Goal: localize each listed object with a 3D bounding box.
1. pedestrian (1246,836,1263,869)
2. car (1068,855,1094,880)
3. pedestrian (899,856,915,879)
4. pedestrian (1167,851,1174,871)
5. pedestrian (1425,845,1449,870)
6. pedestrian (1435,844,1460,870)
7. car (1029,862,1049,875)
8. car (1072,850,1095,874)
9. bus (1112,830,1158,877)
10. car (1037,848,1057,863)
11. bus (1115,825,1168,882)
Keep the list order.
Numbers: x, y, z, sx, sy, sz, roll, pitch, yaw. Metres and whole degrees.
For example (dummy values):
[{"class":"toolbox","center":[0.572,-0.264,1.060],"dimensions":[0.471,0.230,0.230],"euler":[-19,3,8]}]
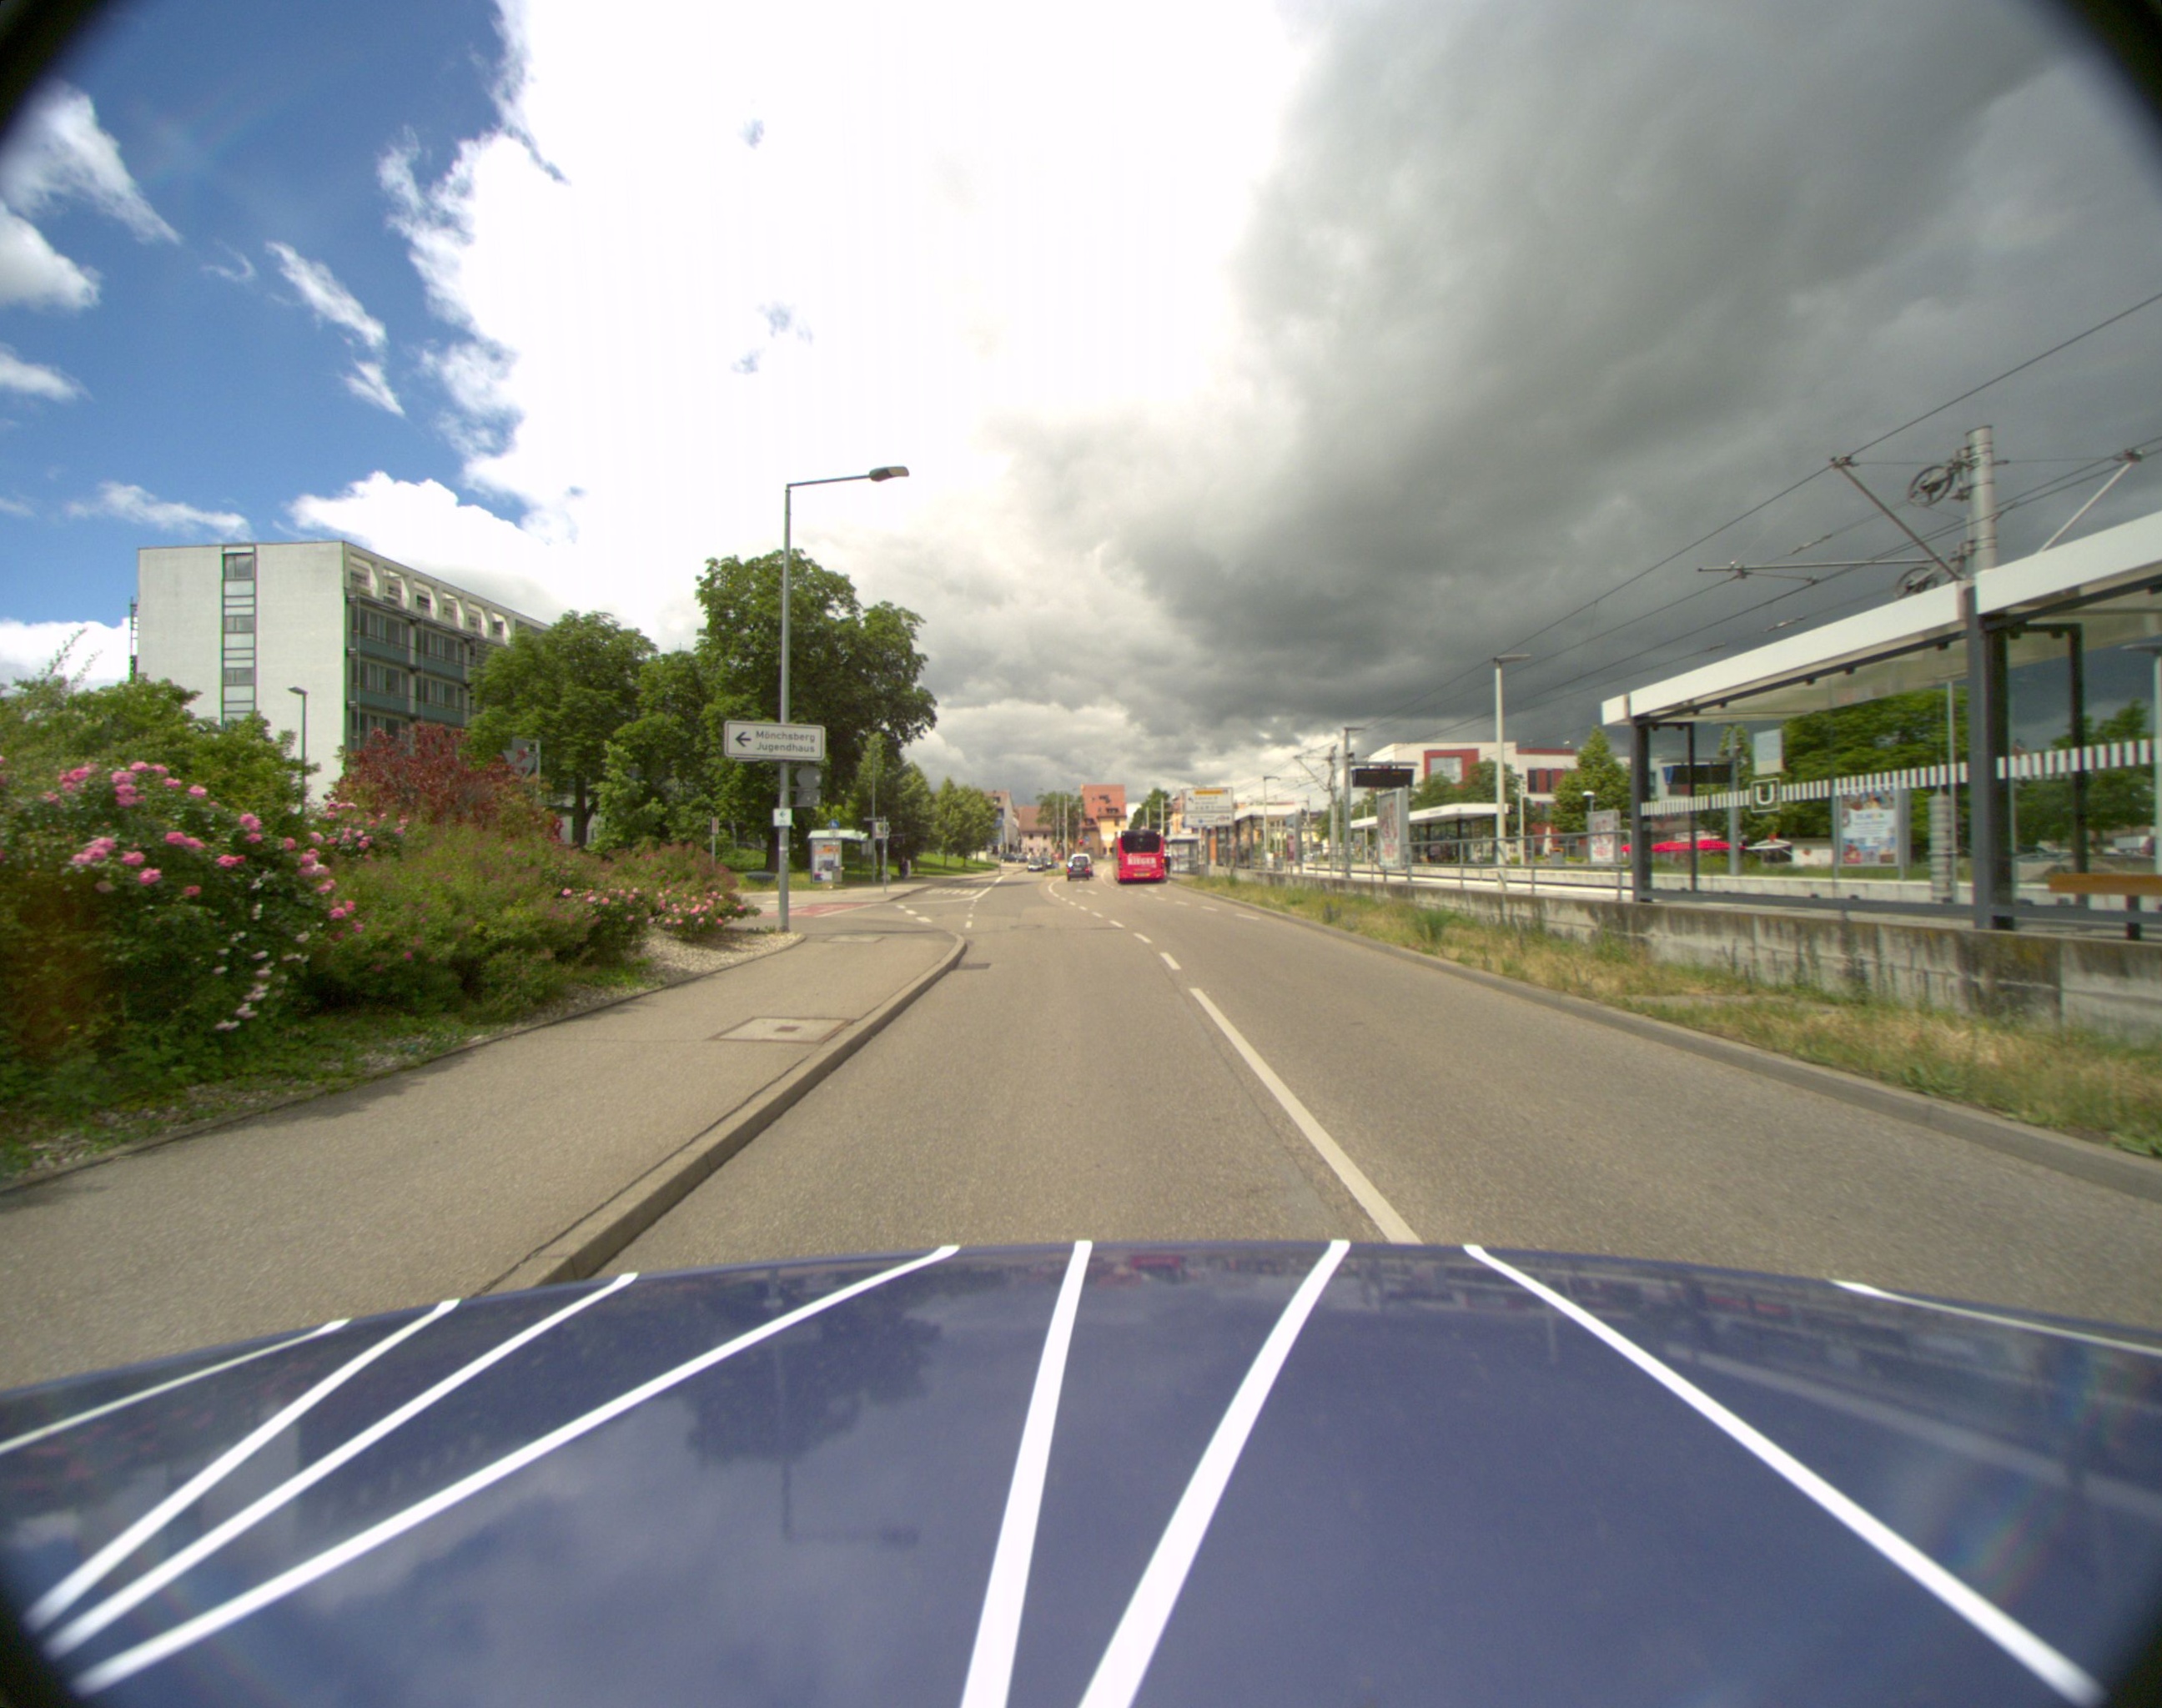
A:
[{"class":"pedestrian","center":[8.755,-0.071,38.387],"dimensions":[0.689,1.646,0.701],"euler":[-1,-1,1]},{"class":"car","center":[0.019,0.906,52.188],"dimensions":[1.533,1.542,3.733],"euler":[-2,0,3]},{"class":"pedestrian","center":[-10.949,0.863,47.809],"dimensions":[0.821,1.416,0.830],"euler":[0,1,2]},{"class":"pedestrian","center":[6.116,0.471,51.804],"dimensions":[0.423,1.395,0.408],"euler":[-1,-1,14]},{"class":"pedestrian","center":[18.528,0.178,39.589],"dimensions":[0.759,1.284,1.112],"euler":[0,0,3]},{"class":"pedestrian","center":[18.513,0.144,38.377],"dimensions":[0.759,1.284,1.112],"euler":[0,0,3]},{"class":"car","center":[-4.589,1.601,84.315],"dimensions":[1.882,1.420,4.001],"euler":[-1,-2,1]},{"class":"car","center":[0.149,0.674,59.588],"dimensions":[1.766,1.652,4.509],"euler":[0,-4,-1]},{"class":"bus","center":[3.738,0.001,54.871],"dimensions":[2.733,3.091,9.704],"euler":[0,0,1]},{"class":"car","center":[-4.060,0.232,91.939],"dimensions":[1.998,1.639,4.422],"euler":[-1,-2,2]},{"class":"bus","center":[3.492,0.017,45.564],"dimensions":[2.732,3.051,8.965],"euler":[0,0,2]}]
